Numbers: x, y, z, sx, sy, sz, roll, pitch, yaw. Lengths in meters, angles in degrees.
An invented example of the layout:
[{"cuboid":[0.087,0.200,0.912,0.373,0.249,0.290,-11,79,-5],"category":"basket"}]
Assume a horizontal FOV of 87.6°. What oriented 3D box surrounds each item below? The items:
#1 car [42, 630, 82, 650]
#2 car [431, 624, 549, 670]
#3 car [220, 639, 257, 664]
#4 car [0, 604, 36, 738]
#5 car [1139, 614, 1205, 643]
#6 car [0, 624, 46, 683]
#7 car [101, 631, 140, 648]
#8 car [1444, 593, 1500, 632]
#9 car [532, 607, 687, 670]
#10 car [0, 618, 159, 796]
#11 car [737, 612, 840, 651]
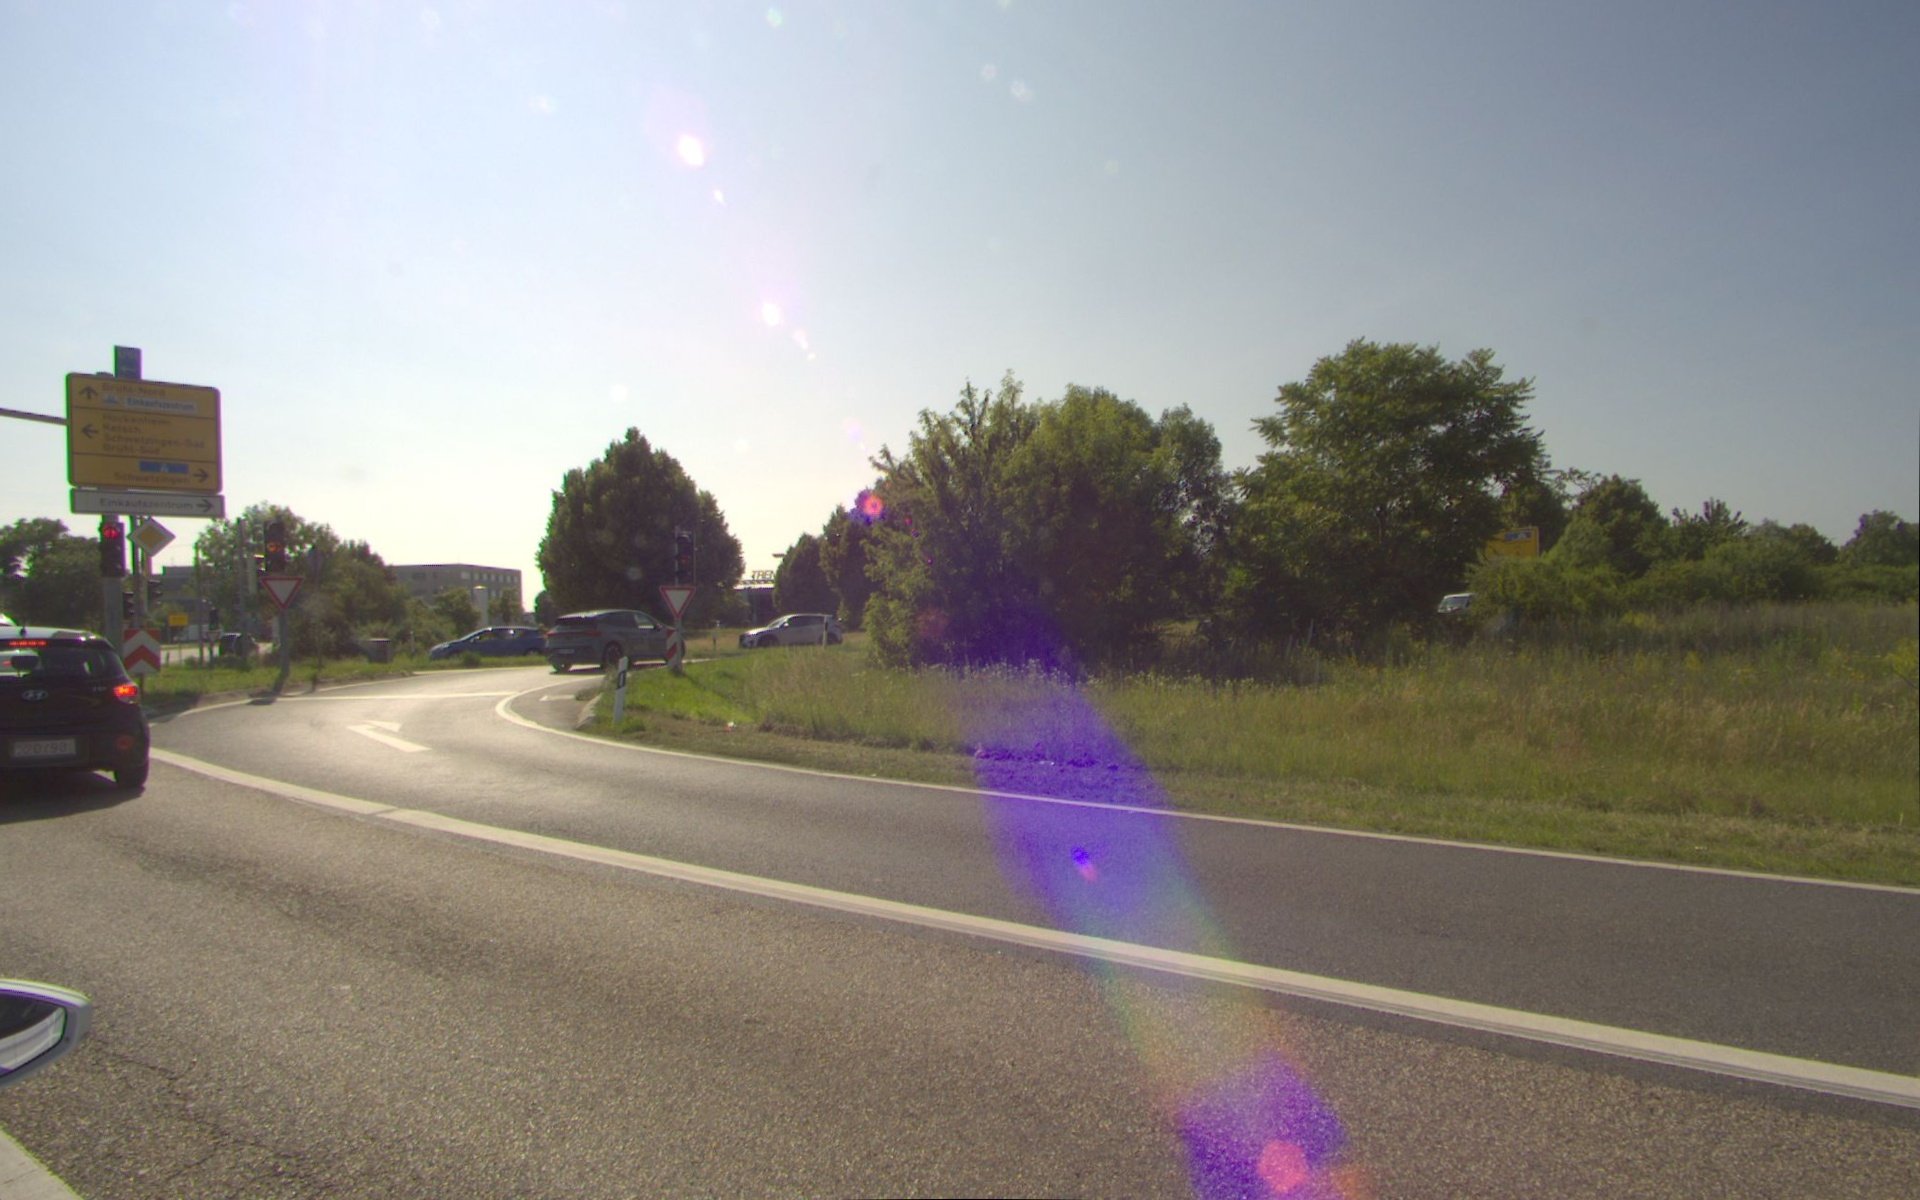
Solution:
[{"cuboid":[-71.821,3.172,80.141,1.693,1.568,3.593,1,-2,-30],"category":"car"},{"cuboid":[-17.365,1.696,37.029,3.824,1.539,1.798,-1,-1,-30],"category":"car"},{"cuboid":[-51.746,3.678,71.903,1.857,1.694,3.750,1,-2,-32],"category":"car"},{"cuboid":[-13.867,0.924,13.477,3.705,1.698,1.626,-2,-2,40],"category":"car"},{"cuboid":[11.629,1.591,54.925,3.495,1.535,1.455,1,-2,-30],"category":"car"},{"cuboid":[-25.607,1.357,25.052,3.865,1.484,1.711,0,-1,-37],"category":"car"},{"cuboid":[-80.145,3.792,95.599,1.688,1.568,3.603,1,-2,-20],"category":"car"},{"cuboid":[34.222,0.861,66.914,3.851,2.467,1.455,1,-2,-30],"category":"car"},{"cuboid":[-9.272,0.985,26.860,1.747,1.537,4.091,-1,0,19],"category":"car"},{"cuboid":[-9.027,0.918,9.486,3.255,1.467,1.626,-1,-2,39],"category":"car"},{"cuboid":[-7.317,1.324,42.793,3.981,1.539,1.797,0,-1,-32],"category":"car"}]
